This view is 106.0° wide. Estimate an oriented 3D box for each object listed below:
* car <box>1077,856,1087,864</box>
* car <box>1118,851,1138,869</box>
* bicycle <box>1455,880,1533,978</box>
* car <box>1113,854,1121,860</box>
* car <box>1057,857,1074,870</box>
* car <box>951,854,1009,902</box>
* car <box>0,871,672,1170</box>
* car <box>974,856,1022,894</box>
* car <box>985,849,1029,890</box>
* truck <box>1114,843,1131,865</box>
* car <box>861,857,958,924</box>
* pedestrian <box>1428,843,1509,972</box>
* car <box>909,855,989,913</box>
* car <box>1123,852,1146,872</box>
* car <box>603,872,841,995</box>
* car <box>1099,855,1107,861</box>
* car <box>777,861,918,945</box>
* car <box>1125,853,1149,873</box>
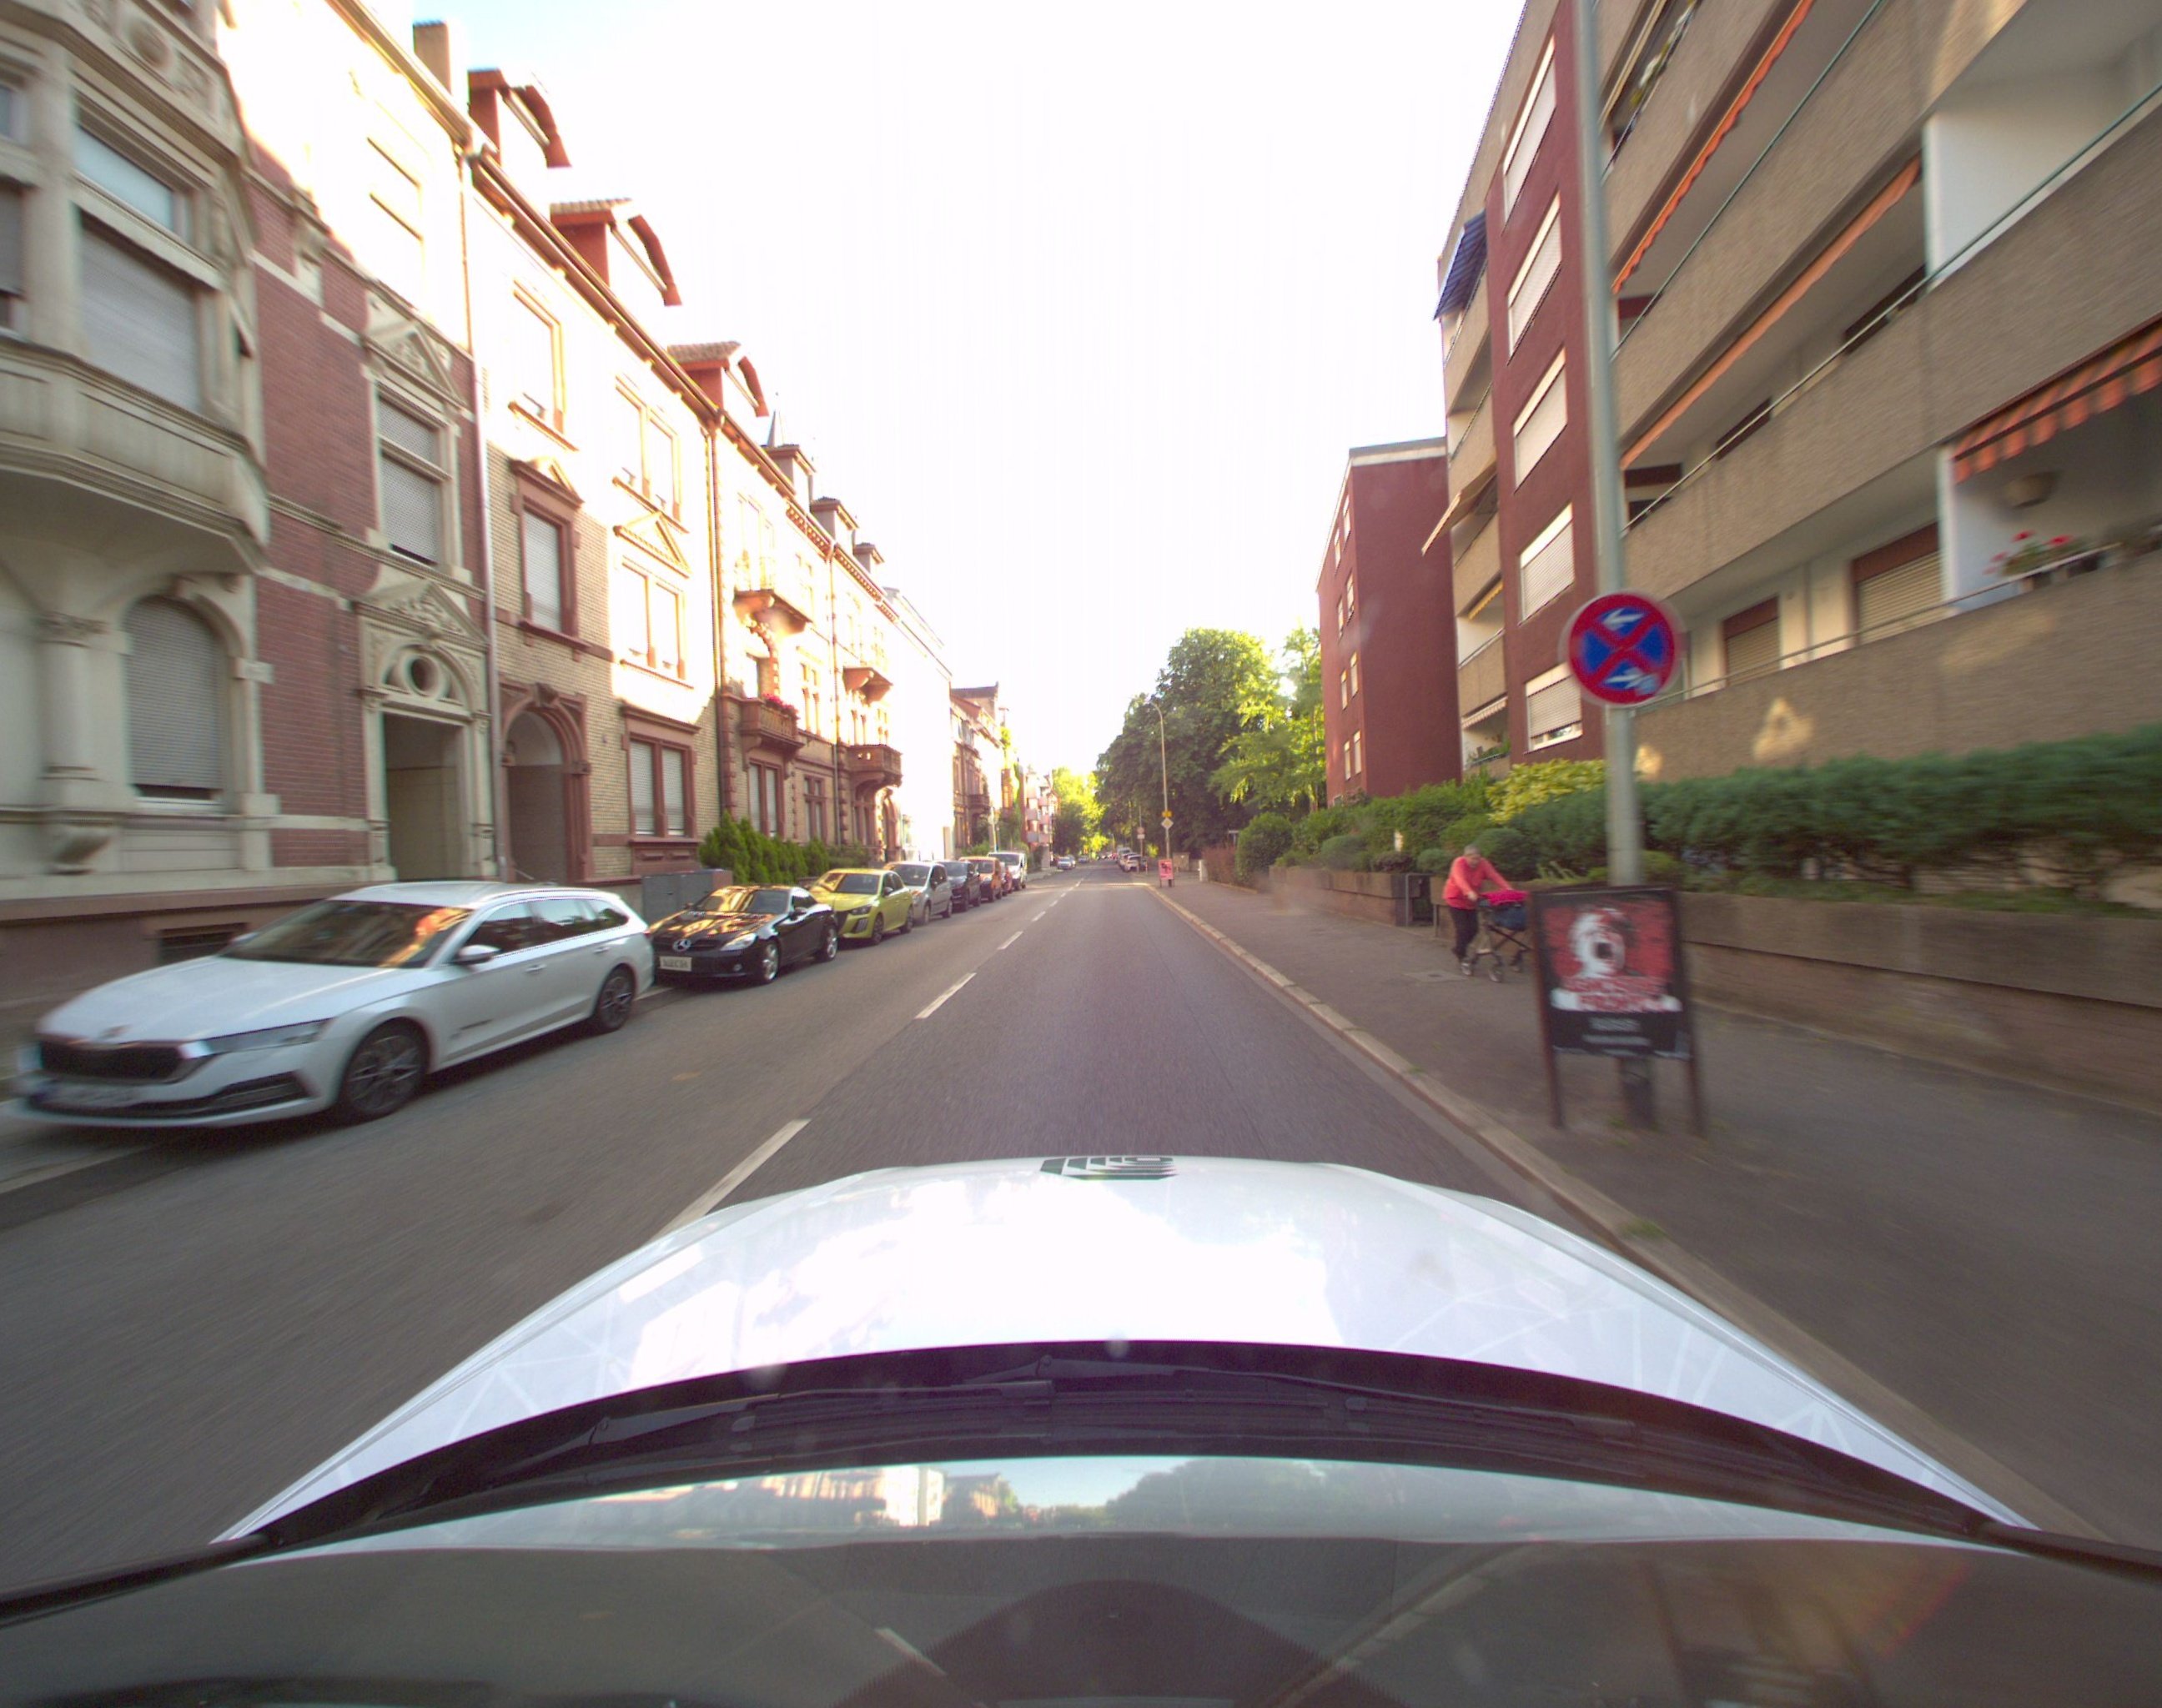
[{"bbox_3d":[0.171,1.192,170.486,1.986,1.491,4.472,-3,1,2],"label":"car"},{"bbox_3d":[5.103,0.648,87.915,1.985,1.737,4.004,-3,1,3],"label":"car"},{"bbox_3d":[4.383,0.784,8.662,0.564,0.970,0.492,-1,1,-1],"label":"bicycle"},{"bbox_3d":[9.899,0.938,225.073,1.988,1.491,4.468,-3,1,-1],"label":"car"},{"bbox_3d":[-1.954,1.180,103.992,1.986,1.491,4.472,-3,1,2],"label":"car"},{"bbox_3d":[-3.892,0.878,31.876,1.697,1.738,3.857,-1,0,1],"label":"car"},{"bbox_3d":[-5.460,0.982,6.827,1.697,1.536,4.549,-1,0,1],"label":"car"},{"bbox_3d":[-3.730,0.906,37.235,1.697,1.619,4.118,-1,0,1],"label":"car"},{"bbox_3d":[-3.788,0.745,42.615,1.787,2.010,4.698,-1,0,1],"label":"car"},{"bbox_3d":[5.723,0.011,112.601,1.986,2.896,4.472,-3,1,1],"label":"truck"},{"bbox_3d":[-4.486,0.909,21.833,1.696,1.584,3.637,-1,0,2],"label":"car"},{"bbox_3d":[4.390,0.581,9.259,0.596,1.403,0.668,-1,1,0],"label":"pedestrian"},{"bbox_3d":[-4.261,0.906,26.984,1.696,1.707,4.443,-1,0,2],"label":"car"},{"bbox_3d":[5.035,0.719,76.886,1.985,1.737,4.004,-3,1,3],"label":"car"},{"bbox_3d":[-4.941,1.011,11.852,1.697,1.366,3.860,-1,0,1],"label":"car"},{"bbox_3d":[5.934,1.128,221.853,1.986,1.491,4.472,-3,1,2],"label":"car"},{"bbox_3d":[-4.695,0.939,16.968,1.697,1.503,4.072,-1,-1,1],"label":"car"},{"bbox_3d":[4.907,0.759,71.492,1.985,1.517,4.004,-3,1,3],"label":"car"}]
